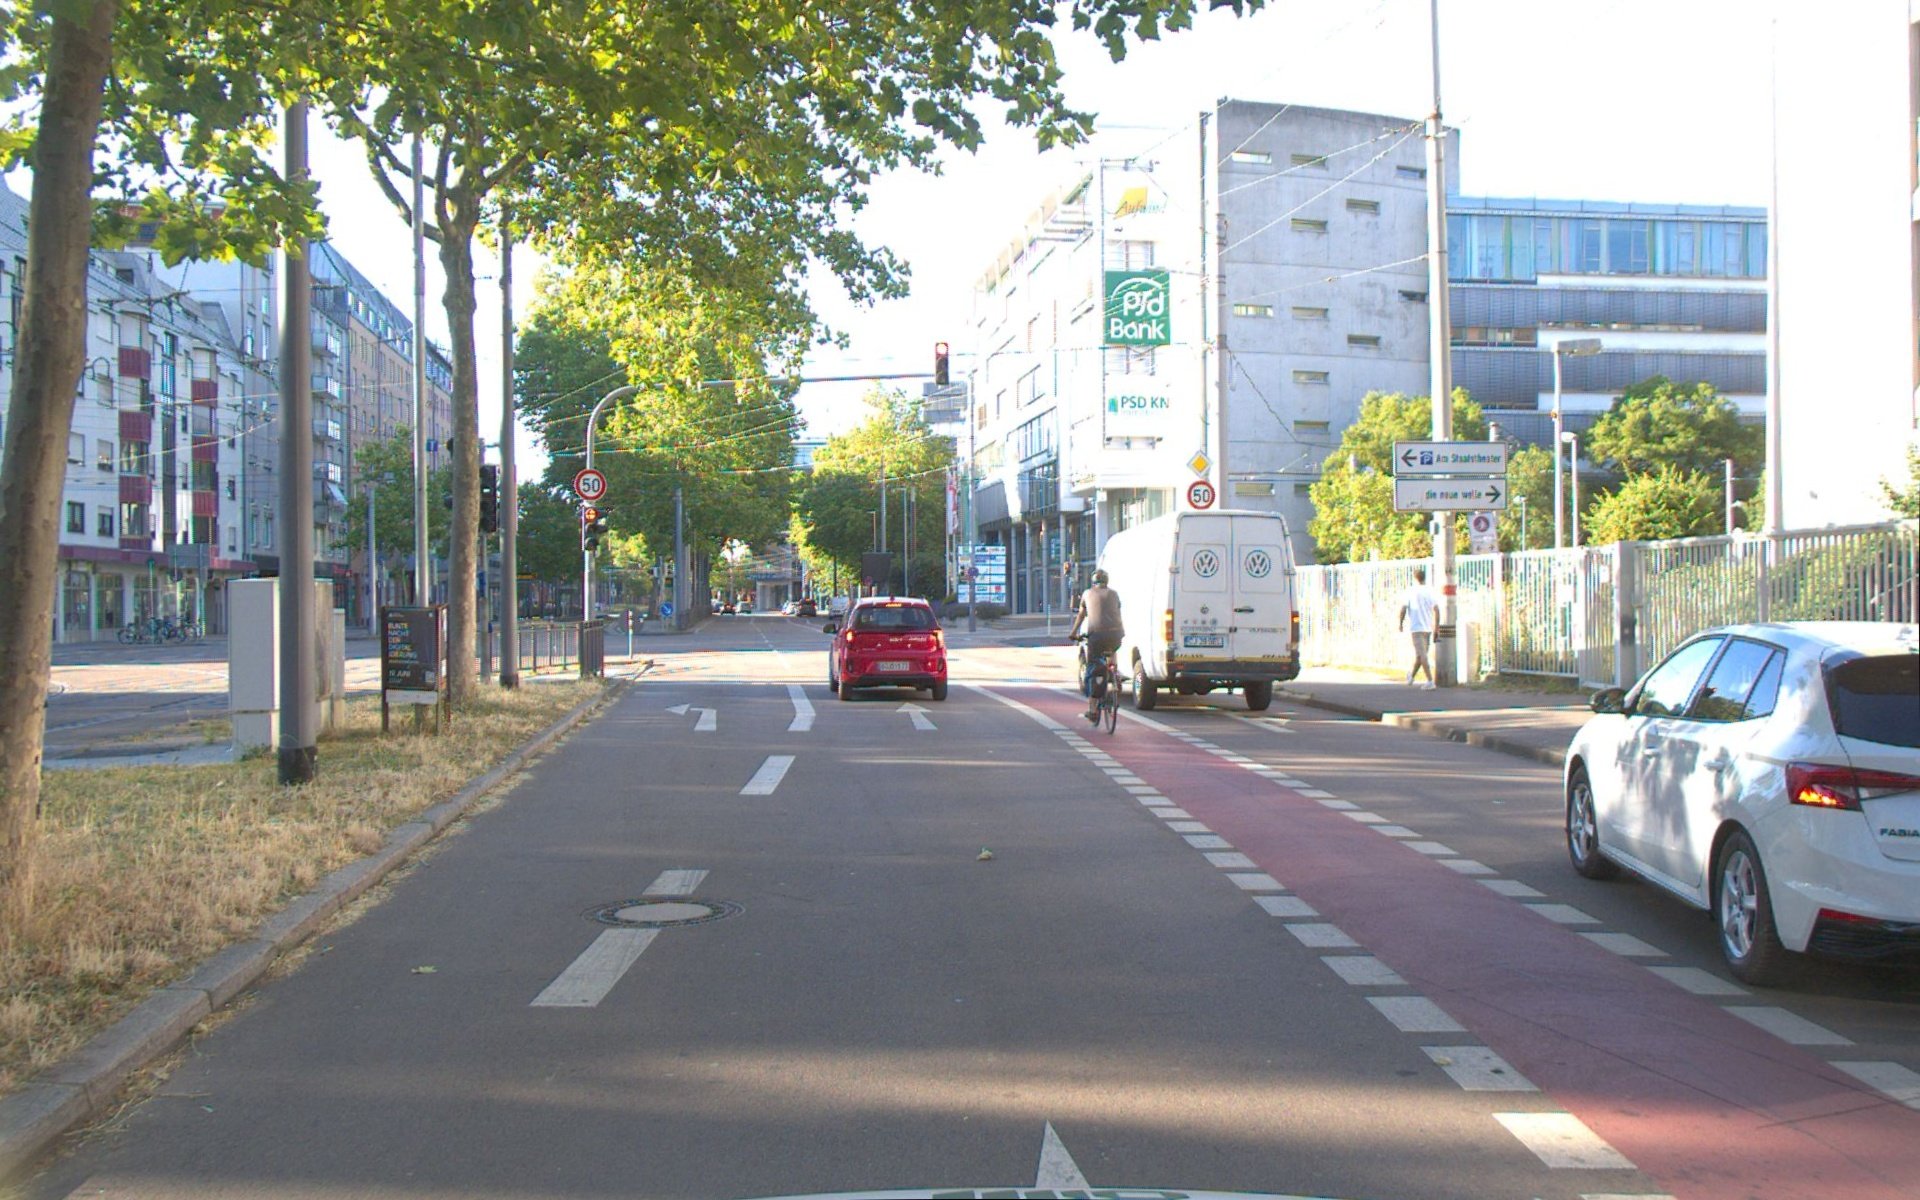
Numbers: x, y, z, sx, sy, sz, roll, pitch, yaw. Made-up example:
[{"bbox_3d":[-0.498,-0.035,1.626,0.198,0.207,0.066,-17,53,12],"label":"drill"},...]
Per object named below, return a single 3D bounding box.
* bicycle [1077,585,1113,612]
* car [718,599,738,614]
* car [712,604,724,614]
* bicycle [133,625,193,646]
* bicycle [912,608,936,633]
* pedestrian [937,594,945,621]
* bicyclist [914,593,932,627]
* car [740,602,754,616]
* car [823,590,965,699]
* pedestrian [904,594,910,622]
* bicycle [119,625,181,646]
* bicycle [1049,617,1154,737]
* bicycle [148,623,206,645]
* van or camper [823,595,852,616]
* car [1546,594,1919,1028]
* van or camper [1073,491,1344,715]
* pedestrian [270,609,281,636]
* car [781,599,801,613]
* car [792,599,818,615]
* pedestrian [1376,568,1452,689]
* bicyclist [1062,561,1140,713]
[{"bbox_3d":[7.687,-0.073,94.263,1.899,1.468,0.574,-2,0,-10],"label":"bicycle"},{"bbox_3d":[-26.970,0.786,192.009,2.022,1.682,3.480,-1,0,-13],"label":"car"},{"bbox_3d":[-33.444,1.258,228.667,1.546,1.329,3.333,-2,0,-9],"label":"car"},{"bbox_3d":[-32.507,1.431,67.440,2.131,0.801,0.490,-1,0,-12],"label":"bicycle"},{"bbox_3d":[-1.815,1.022,82.996,0.778,1.182,2.492,-1,0,-12],"label":"bicycle"},{"bbox_3d":[-1.086,0.431,95.032,0.307,1.589,0.295,-1,0,25],"label":"pedestrian"},{"bbox_3d":[-1.853,0.508,83.168,0.771,1.663,0.637,-1,0,-12],"label":"bicyclist"},{"bbox_3d":[-27.074,1.134,210.204,1.627,1.635,3.523,-2,0,-9],"label":"car"},{"bbox_3d":[-1.080,0.623,25.363,1.805,1.515,3.710,-1,0,-8],"label":"car"},{"bbox_3d":[-3.048,0.441,95.444,0.288,1.589,0.302,-1,0,-3],"label":"pedestrian"},{"bbox_3d":[-32.647,1.429,66.650,2.131,0.801,0.639,-1,0,-12],"label":"bicycle"},{"bbox_3d":[1.587,0.841,18.917,0.730,1.245,2.152,1,0,-8],"label":"bicycle"},{"bbox_3d":[-32.563,1.417,68.802,2.131,0.838,0.526,-1,0,-12],"label":"bicycle"},{"bbox_3d":[-11.113,0.487,150.293,2.107,1.781,4.419,-2,0,-11],"label":"van or camper"},{"bbox_3d":[4.131,0.742,7.755,1.764,1.527,3.984,0,0,7],"label":"car"},{"bbox_3d":[3.378,0.036,24.129,2.226,2.781,6.336,2,0,-7],"label":"van or camper"},{"bbox_3d":[-38.935,1.272,94.077,0.502,1.484,0.525,-1,0,-19],"label":"pedestrian"},{"bbox_3d":[-20.094,0.685,196.461,1.851,1.555,4.420,-2,0,-11],"label":"car"},{"bbox_3d":[-16.628,0.757,176.956,2.433,1.555,4.421,-2,0,-10],"label":"car"},{"bbox_3d":[6.877,0.422,25.061,0.777,1.779,0.764,-1,0,-29],"label":"pedestrian"},{"bbox_3d":[1.606,0.413,18.902,0.729,1.698,0.744,1,0,-7],"label":"bicyclist"}]
